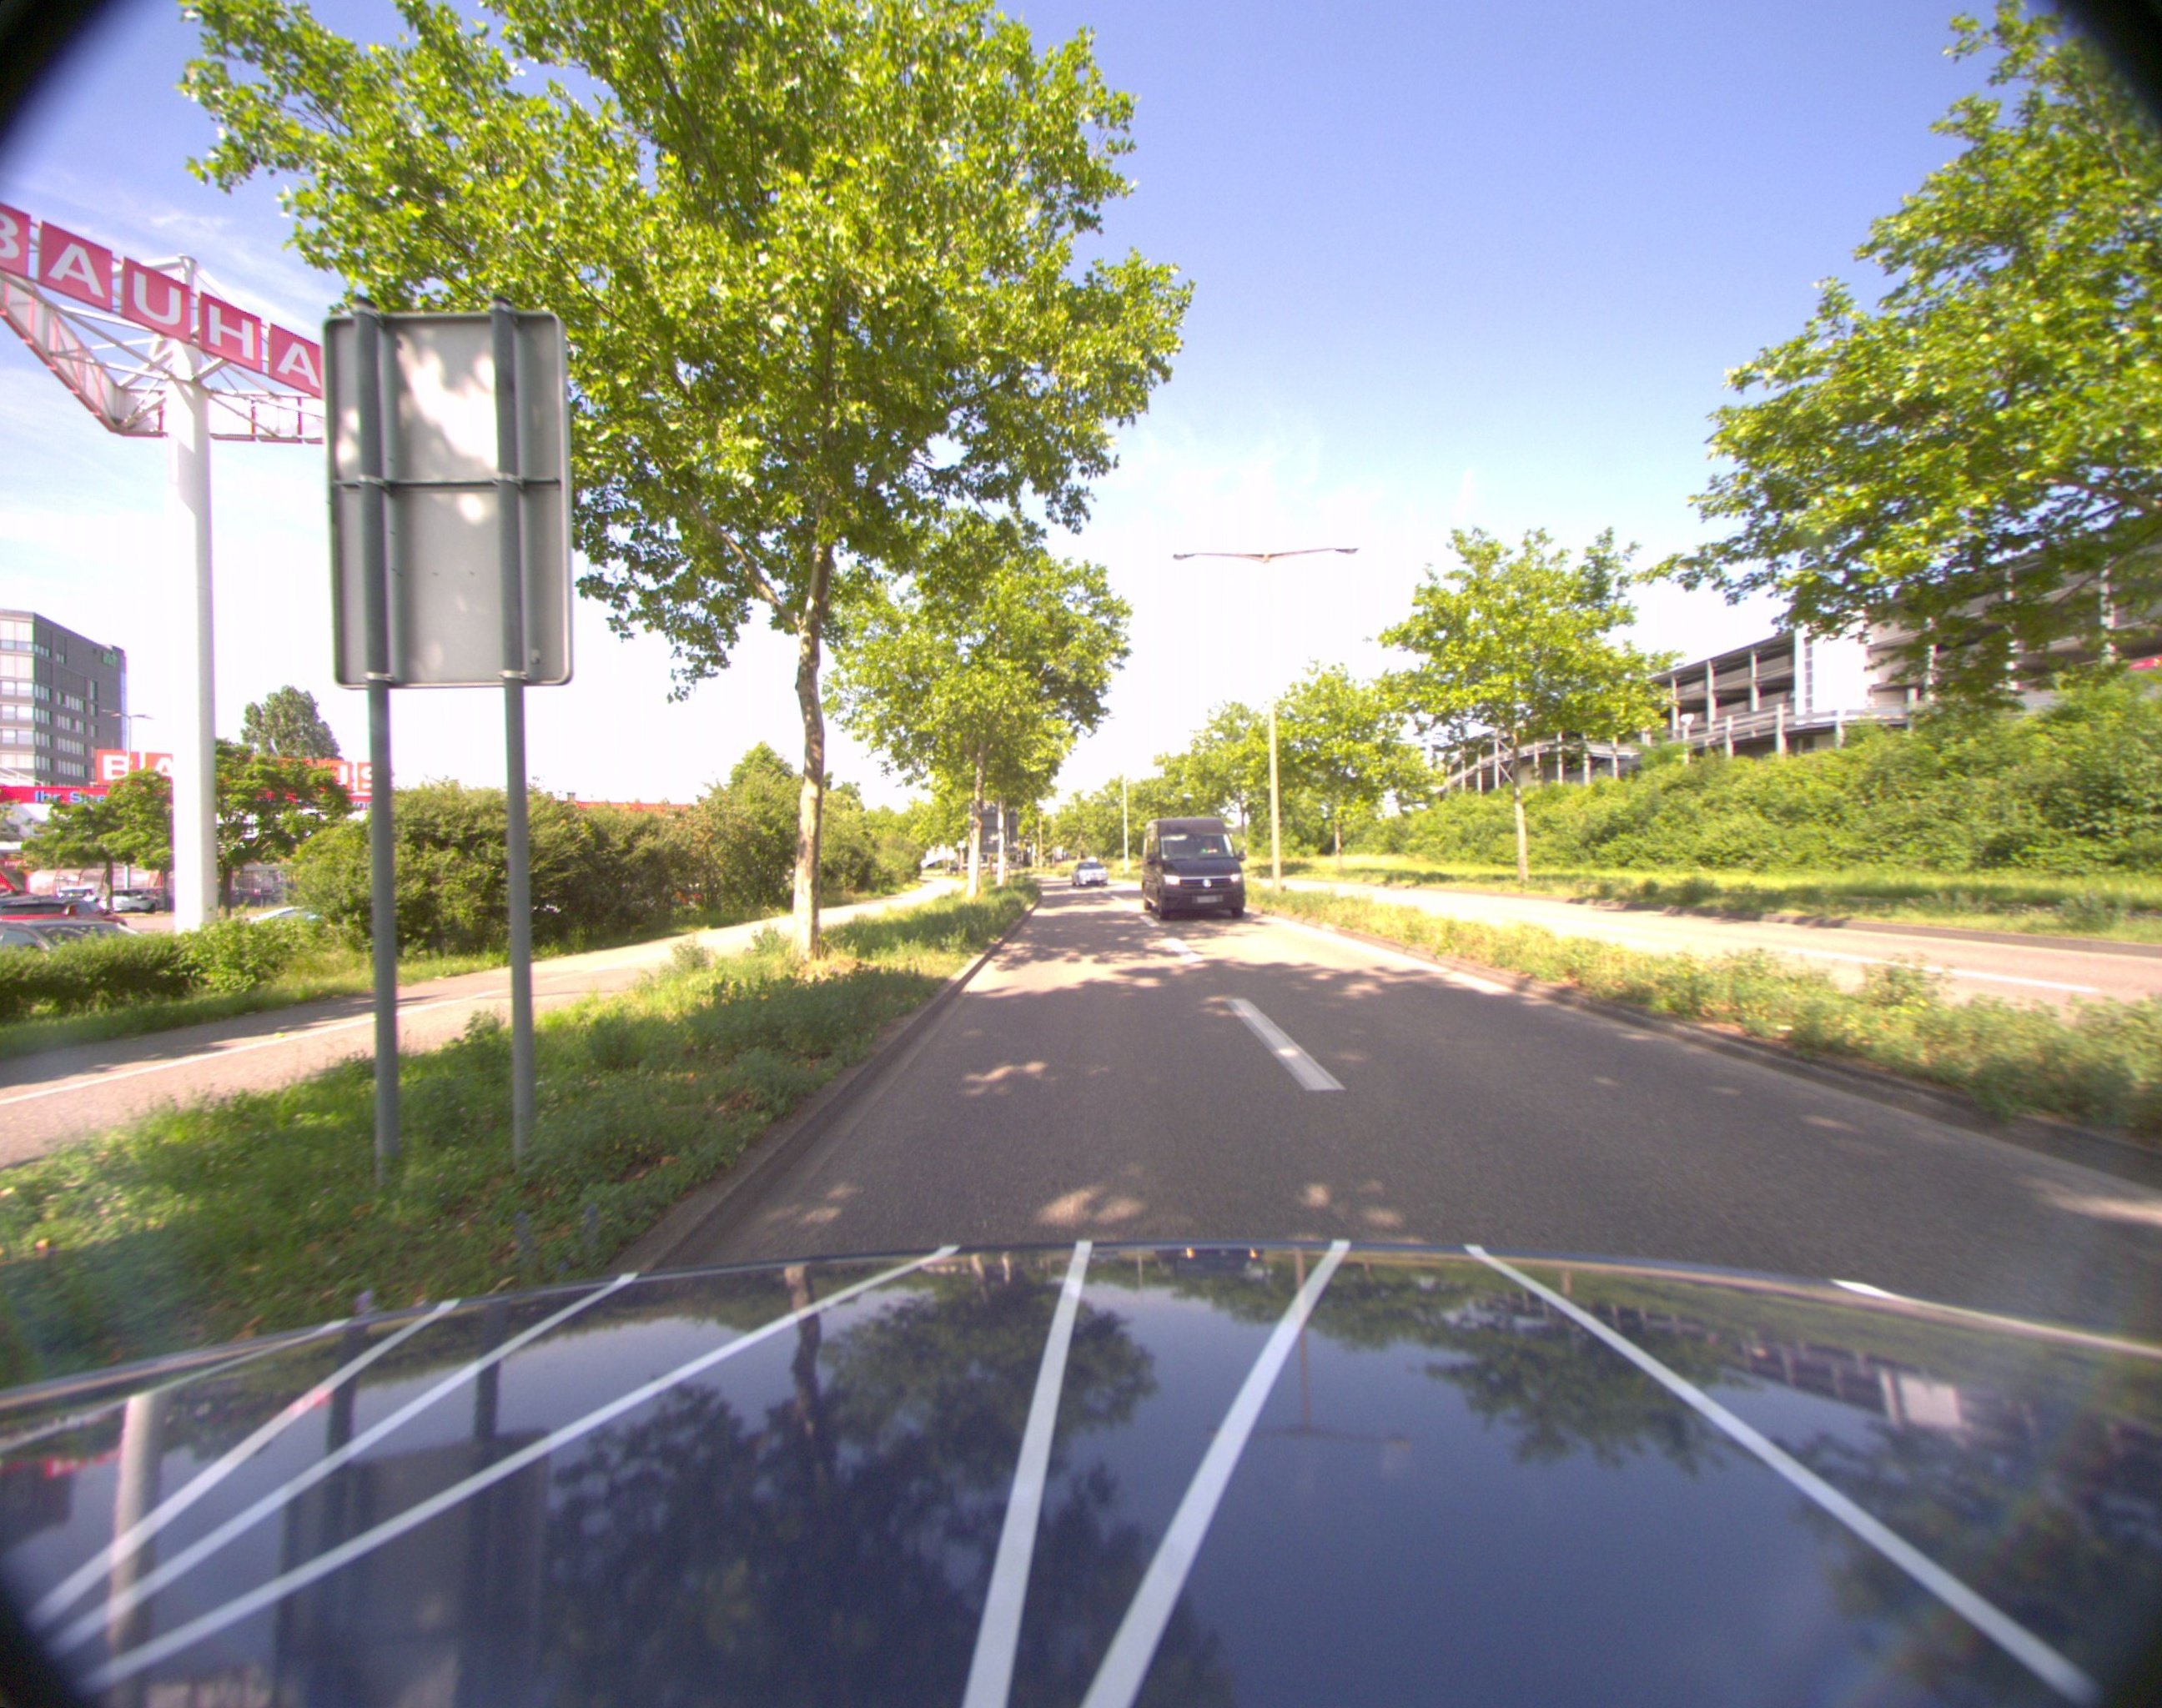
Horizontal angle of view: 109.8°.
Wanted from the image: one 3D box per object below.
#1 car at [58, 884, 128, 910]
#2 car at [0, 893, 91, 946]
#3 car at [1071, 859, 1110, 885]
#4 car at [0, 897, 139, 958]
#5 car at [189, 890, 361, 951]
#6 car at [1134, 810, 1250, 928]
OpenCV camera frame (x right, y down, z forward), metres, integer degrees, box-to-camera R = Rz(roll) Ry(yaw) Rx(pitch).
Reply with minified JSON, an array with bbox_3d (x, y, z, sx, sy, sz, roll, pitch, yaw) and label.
[{"bbox_3d":[-59.878,2.599,46.125,1.572,1.371,3.610,-2,0,-36],"label":"car"},{"bbox_3d":[-36.566,2.196,26.108,1.632,1.618,4.747,0,-1,-33],"label":"car"},{"bbox_3d":[0.568,1.093,47.742,1.825,1.512,4.205,-2,0,-8],"label":"car"},{"bbox_3d":[-31.440,2.210,23.386,2.003,1.499,3.990,-2,1,-35],"label":"car"},{"bbox_3d":[-21.086,1.718,19.948,3.161,1.447,1.195,-1,1,-1],"label":"car"},{"bbox_3d":[2.734,0.314,20.245,2.021,2.592,6.167,-2,1,-1],"label":"car"}]
